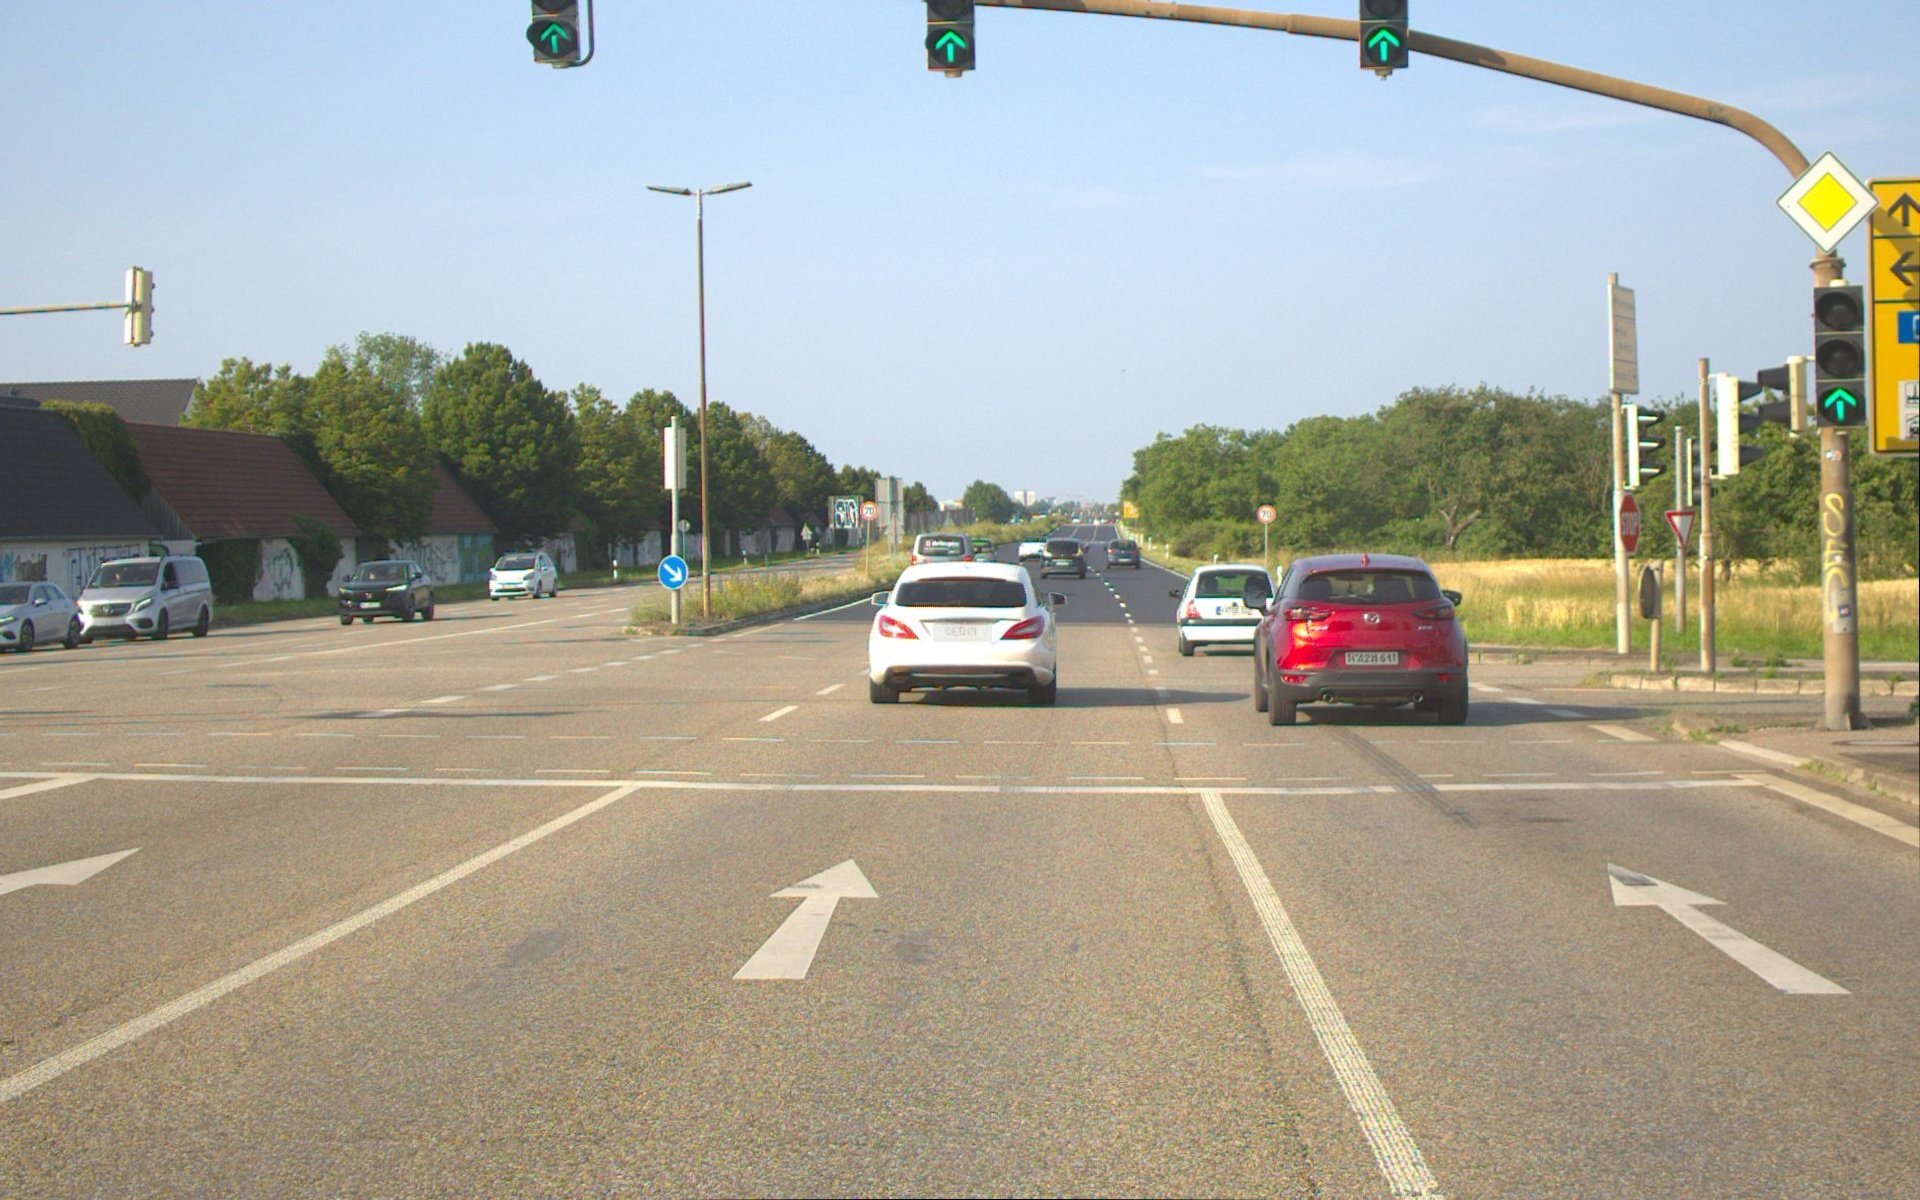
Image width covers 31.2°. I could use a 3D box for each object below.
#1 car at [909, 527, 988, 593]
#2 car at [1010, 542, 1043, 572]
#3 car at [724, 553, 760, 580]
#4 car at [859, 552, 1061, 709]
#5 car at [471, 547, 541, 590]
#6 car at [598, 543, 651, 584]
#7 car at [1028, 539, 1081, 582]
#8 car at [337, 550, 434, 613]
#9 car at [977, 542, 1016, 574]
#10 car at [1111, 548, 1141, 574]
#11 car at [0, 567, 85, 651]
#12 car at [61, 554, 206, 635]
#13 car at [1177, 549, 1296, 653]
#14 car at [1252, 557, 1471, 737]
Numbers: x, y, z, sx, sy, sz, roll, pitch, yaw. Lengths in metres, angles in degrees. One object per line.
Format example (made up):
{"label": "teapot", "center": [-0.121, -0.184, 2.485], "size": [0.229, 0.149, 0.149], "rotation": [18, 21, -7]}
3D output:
{"label": "car", "center": [-0.320, -1.230, 103.921], "size": [2.025, 1.885, 4.958], "rotation": [1, 1, 3]}
{"label": "car", "center": [3.828, -2.468, 197.694], "size": [1.776, 1.660, 3.664], "rotation": [1, 1, -1]}
{"label": "car", "center": [-12.857, -1.968, 202.532], "size": [1.754, 1.525, 4.000], "rotation": [1, 1, 1]}
{"label": "car", "center": [0.056, 0.264, 35.469], "size": [1.894, 1.503, 4.000], "rotation": [0, 1, 3]}
{"label": "car", "center": [-16.319, -1.138, 123.800], "size": [1.993, 1.492, 4.000], "rotation": [1, 1, -1]}
{"label": "car", "center": [-15.132, -1.648, 155.327], "size": [1.993, 1.787, 4.000], "rotation": [1, 1, -1]}
{"label": "car", "center": [3.826, -1.612, 138.953], "size": [1.839, 1.678, 3.999], "rotation": [1, 1, 5]}
{"label": "car", "center": [-14.359, -0.481, 86.092], "size": [1.822, 1.503, 3.798], "rotation": [1, 1, -1]}
{"label": "car", "center": [1.781, -2.047, 167.663], "size": [1.717, 1.487, 3.584], "rotation": [1, 1, 3]}
{"label": "car", "center": [8.218, -1.938, 170.129], "size": [1.439, 1.279, 2.914], "rotation": [1, 1, 3]}
{"label": "car", "center": [-19.238, 0.160, 69.964], "size": [1.889, 1.612, 3.857], "rotation": [1, 1, -1]}
{"label": "car", "center": [-18.313, -0.142, 76.395], "size": [1.997, 1.681, 4.575], "rotation": [1, 1, 2]}
{"label": "car", "center": [4.246, -0.009, 53.182], "size": [1.730, 1.525, 3.473], "rotation": [1, 1, 4]}
{"label": "car", "center": [3.610, 0.377, 31.461], "size": [1.754, 1.511, 4.000], "rotation": [-1, 1, 3]}
